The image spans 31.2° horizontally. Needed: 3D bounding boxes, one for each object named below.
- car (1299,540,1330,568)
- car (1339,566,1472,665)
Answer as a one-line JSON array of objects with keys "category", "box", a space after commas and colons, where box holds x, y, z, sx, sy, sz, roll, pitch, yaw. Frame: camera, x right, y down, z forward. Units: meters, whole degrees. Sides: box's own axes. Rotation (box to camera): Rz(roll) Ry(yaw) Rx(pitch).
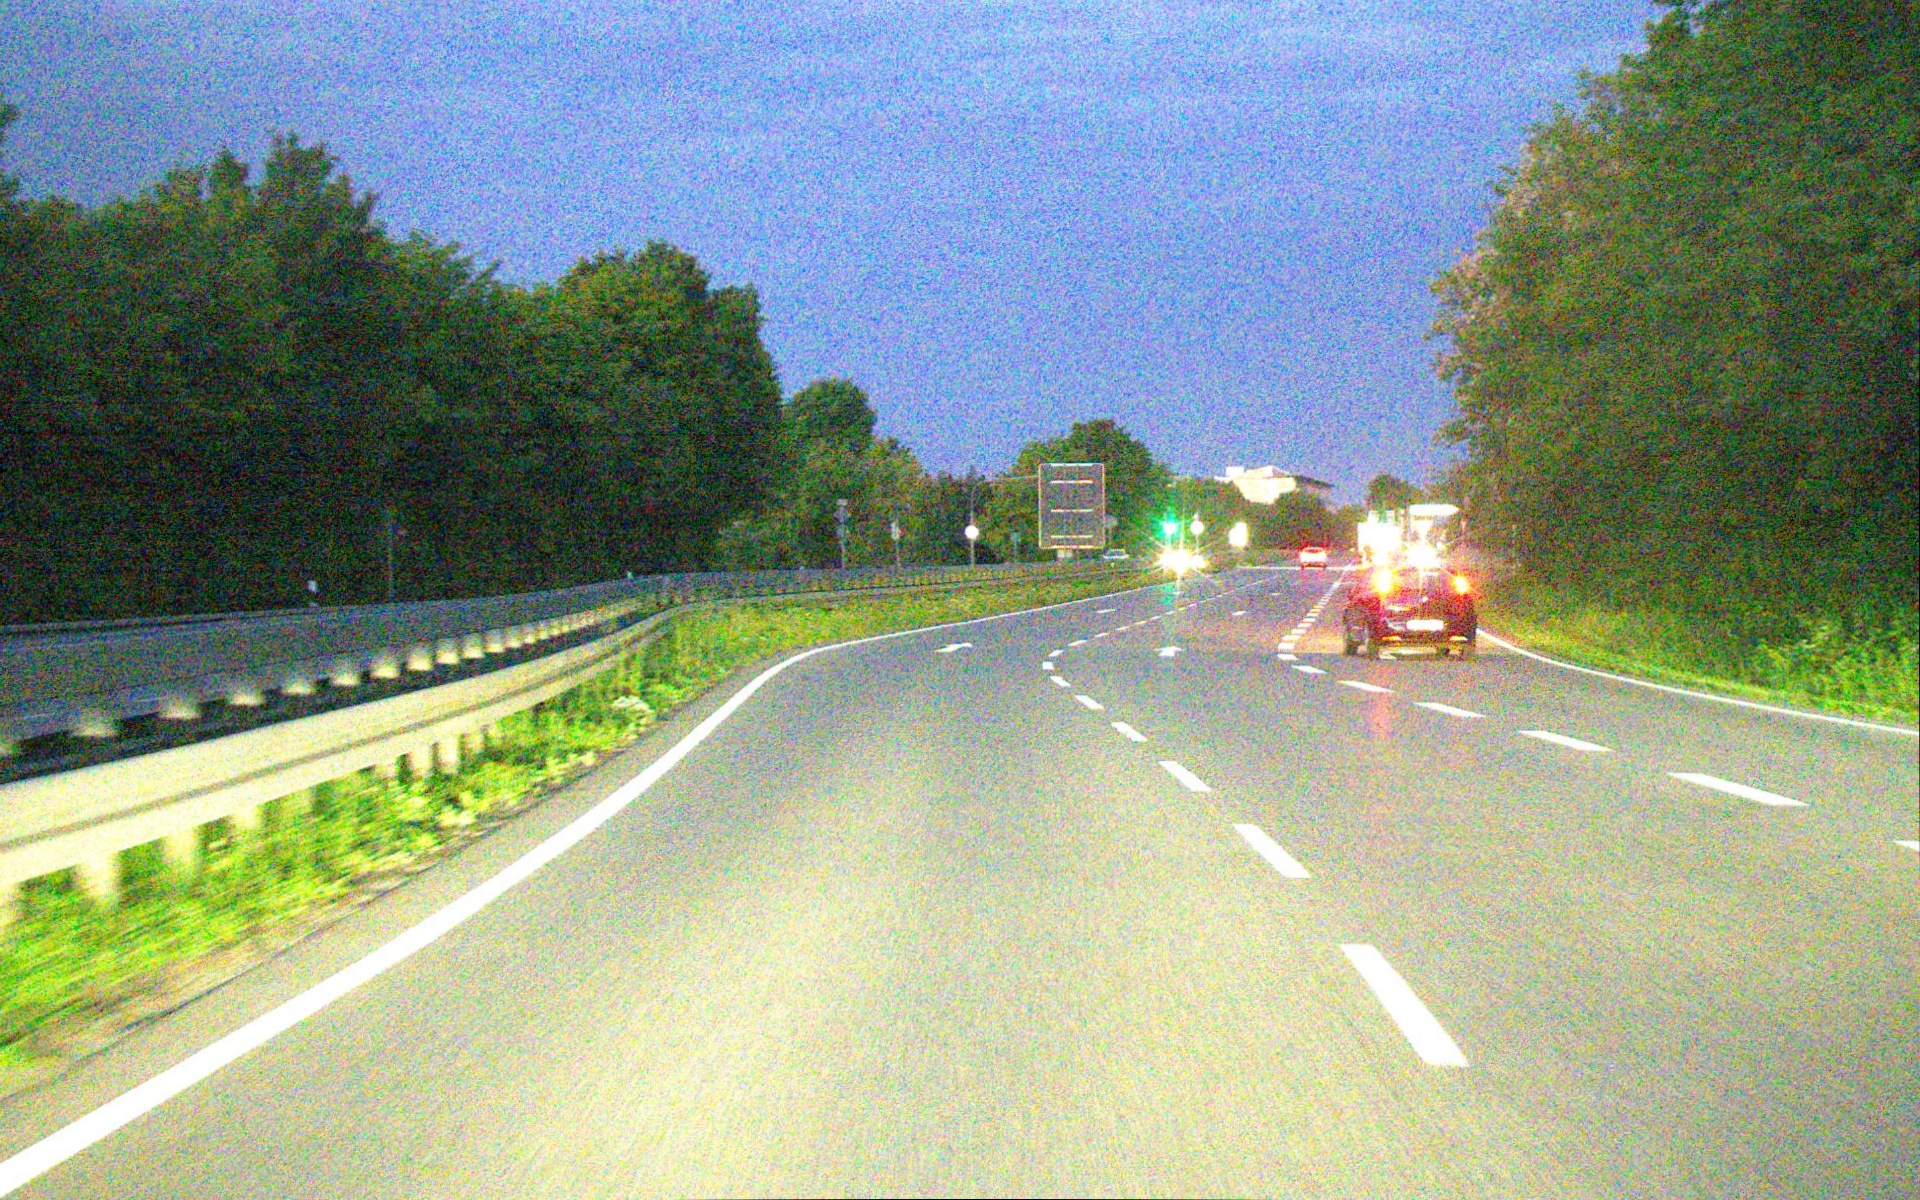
[{"category": "car", "box": [25.061, -3.243, 243.195, 1.994, 1.744, 3.999, -4, 0, 5]}, {"category": "car", "box": [6.862, 0.210, 53.304, 1.753, 1.448, 4.433, 0, 1, 4]}]
